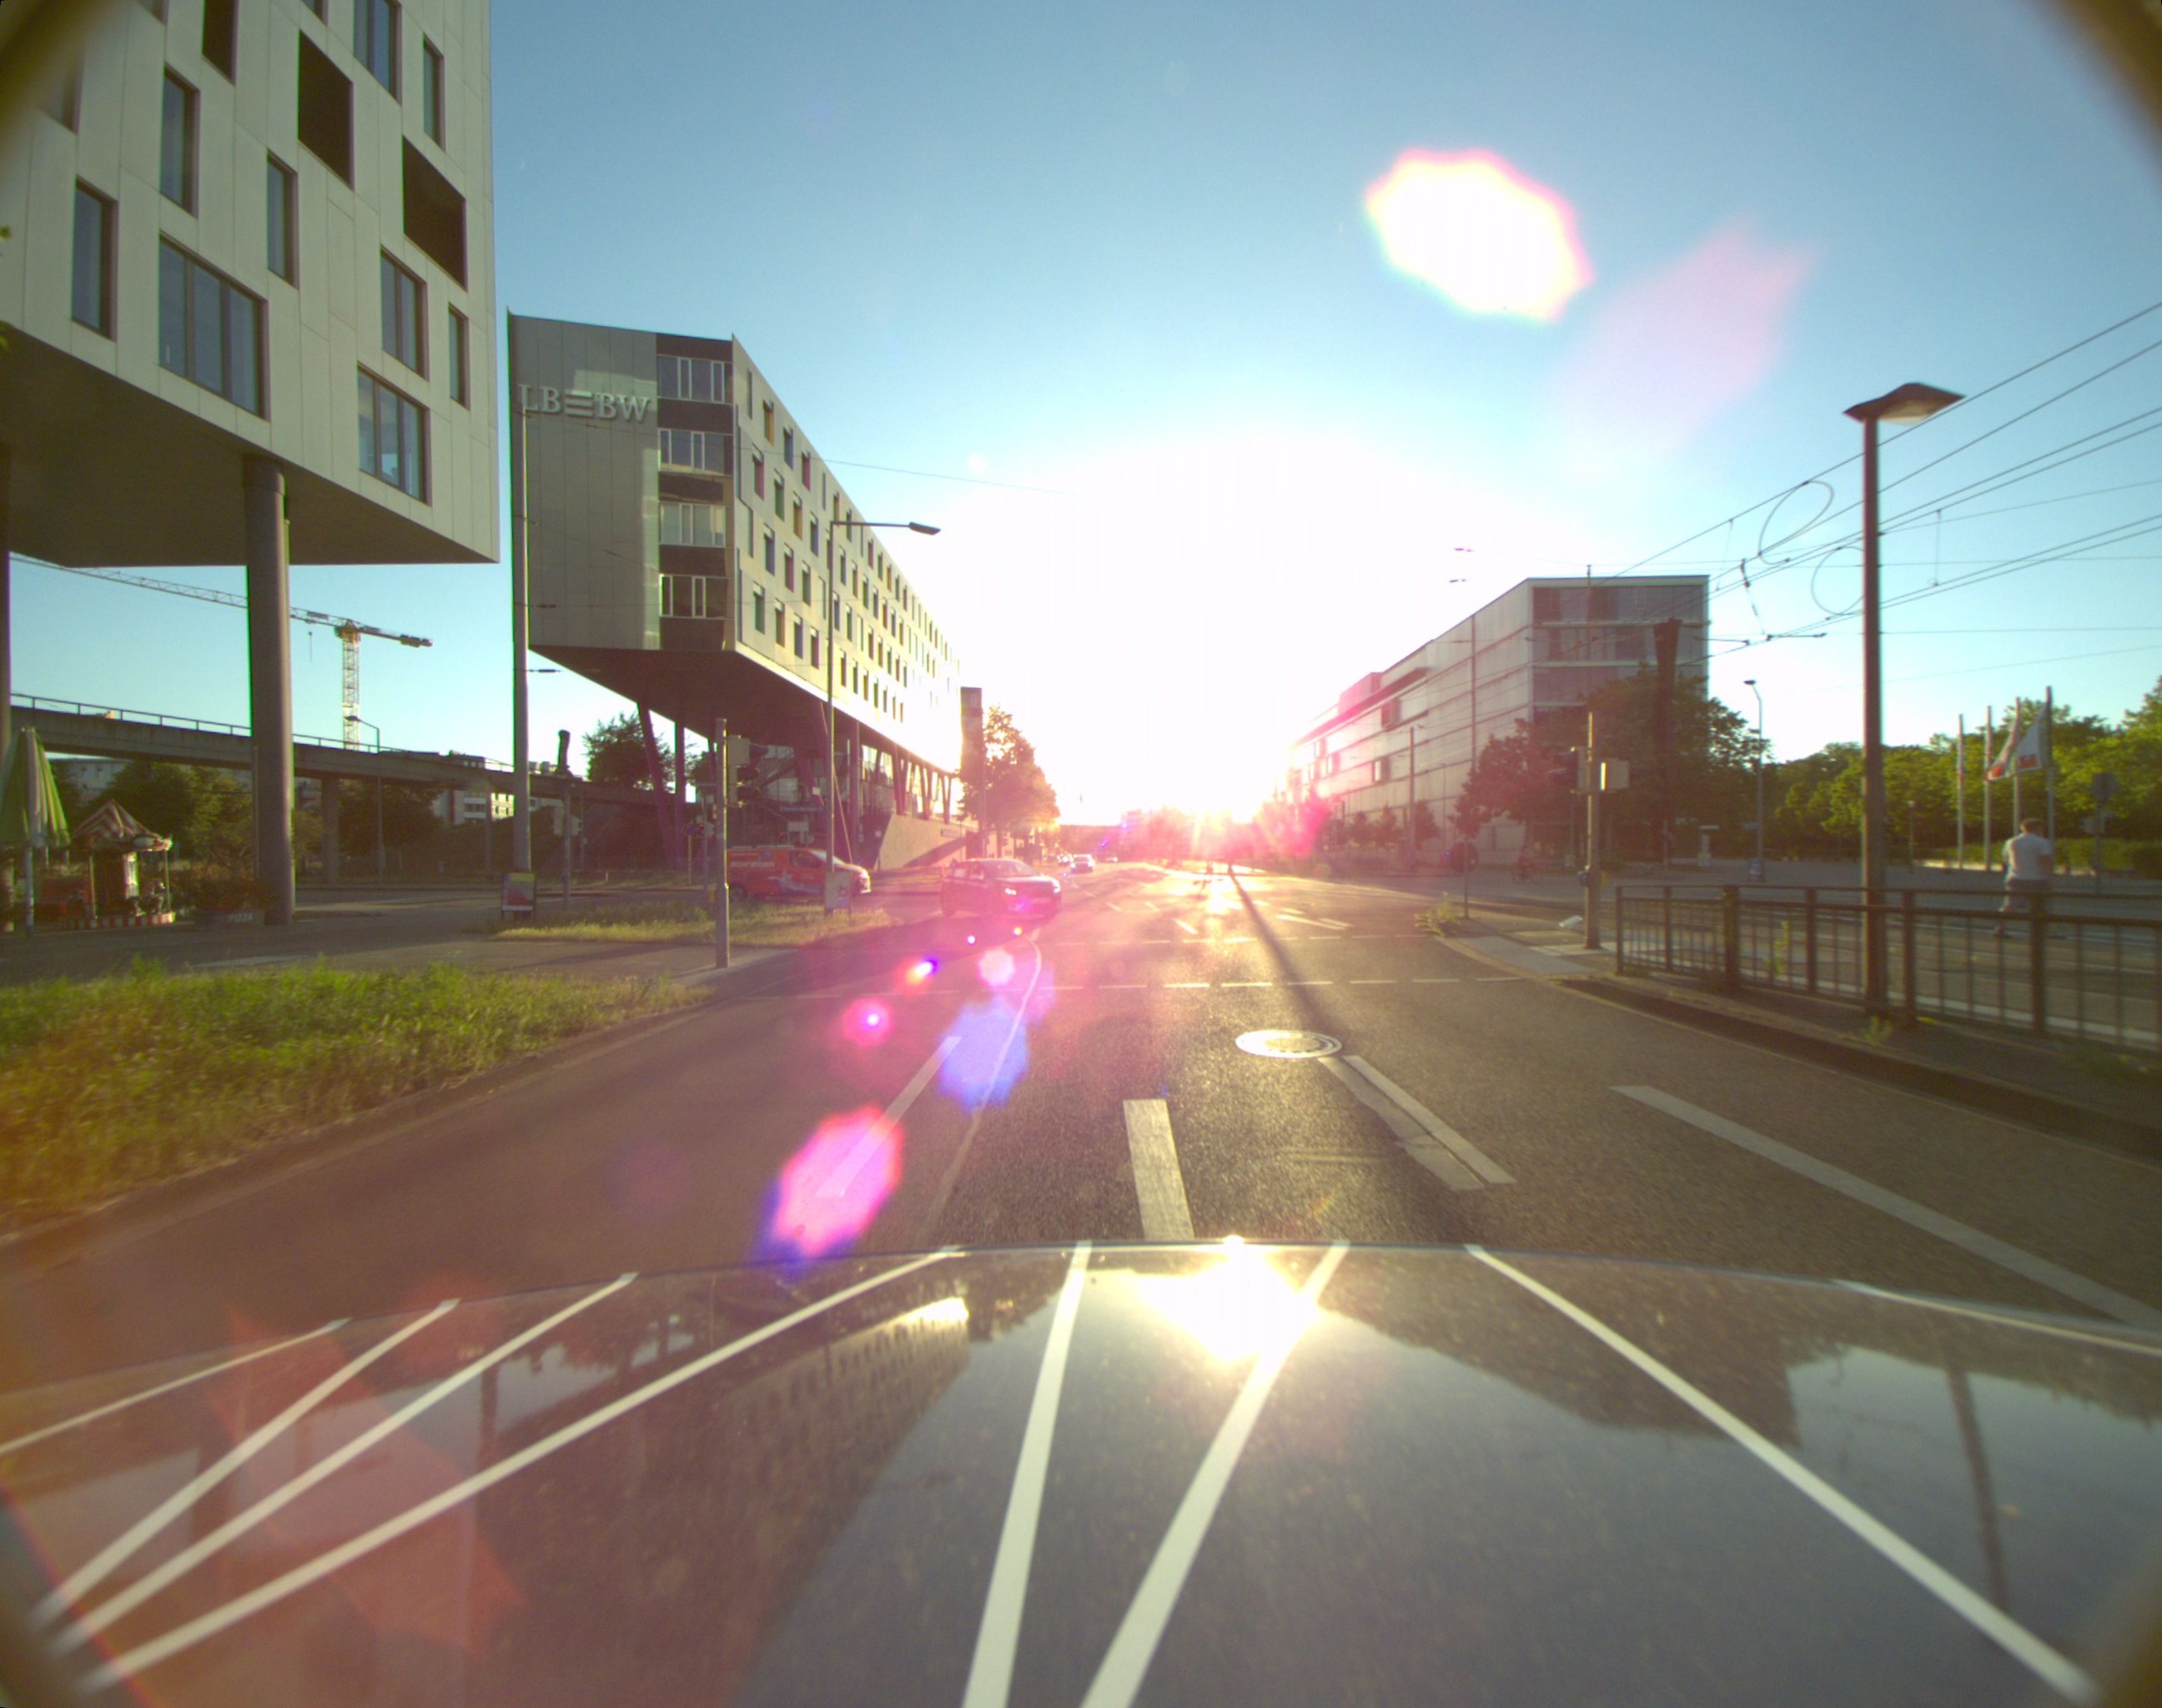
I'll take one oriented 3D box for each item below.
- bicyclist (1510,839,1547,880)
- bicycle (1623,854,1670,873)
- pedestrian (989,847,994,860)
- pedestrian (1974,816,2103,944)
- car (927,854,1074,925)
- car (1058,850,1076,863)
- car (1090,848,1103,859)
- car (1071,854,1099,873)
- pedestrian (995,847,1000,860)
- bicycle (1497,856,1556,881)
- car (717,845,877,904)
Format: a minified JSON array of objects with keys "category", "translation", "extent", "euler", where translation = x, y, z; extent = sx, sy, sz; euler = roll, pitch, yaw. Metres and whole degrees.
[{"category":"bicyclist","translation":[19.163,0.237,32.551],"extent":[0.995,1.708,1.035],"euler":[0,1,3]},{"category":"bicycle","translation":[35.129,0.602,47.186],"extent":[2.391,1.129,0.701],"euler":[0,1,0]},{"category":"pedestrian","translation":[-14.104,-0.039,120.095],"extent":[0.618,2.002,0.812],"euler":[1,1,1]},{"category":"pedestrian","translation":[13.745,0.355,10.936],"extent":[0.801,1.781,0.764],"euler":[0,3,2]},{"category":"car","translation":[-2.096,0.773,18.735],"extent":[1.764,1.543,4.060],"euler":[-1,1,-37]},{"category":"car","translation":[-1.547,0.303,87.616],"extent":[1.999,1.412,3.999],"euler":[0,1,0]},{"category":"car","translation":[2.525,-0.062,125.603],"extent":[1.999,1.696,3.999],"euler":[0,1,0]},{"category":"car","translation":[0.329,0.714,60.386],"extent":[1.998,1.412,4.000],"euler":[0,1,3]},{"category":"pedestrian","translation":[-13.250,-0.028,120.085],"extent":[0.618,2.002,0.812],"euler":[1,1,1]},{"category":"bicycle","translation":[19.078,0.623,32.584],"extent":[2.120,1.062,0.636],"euler":[0,1,3]},{"category":"car","translation":[-9.807,0.680,26.484],"extent":[4.818,1.980,1.932],"euler":[0,2,1]}]
